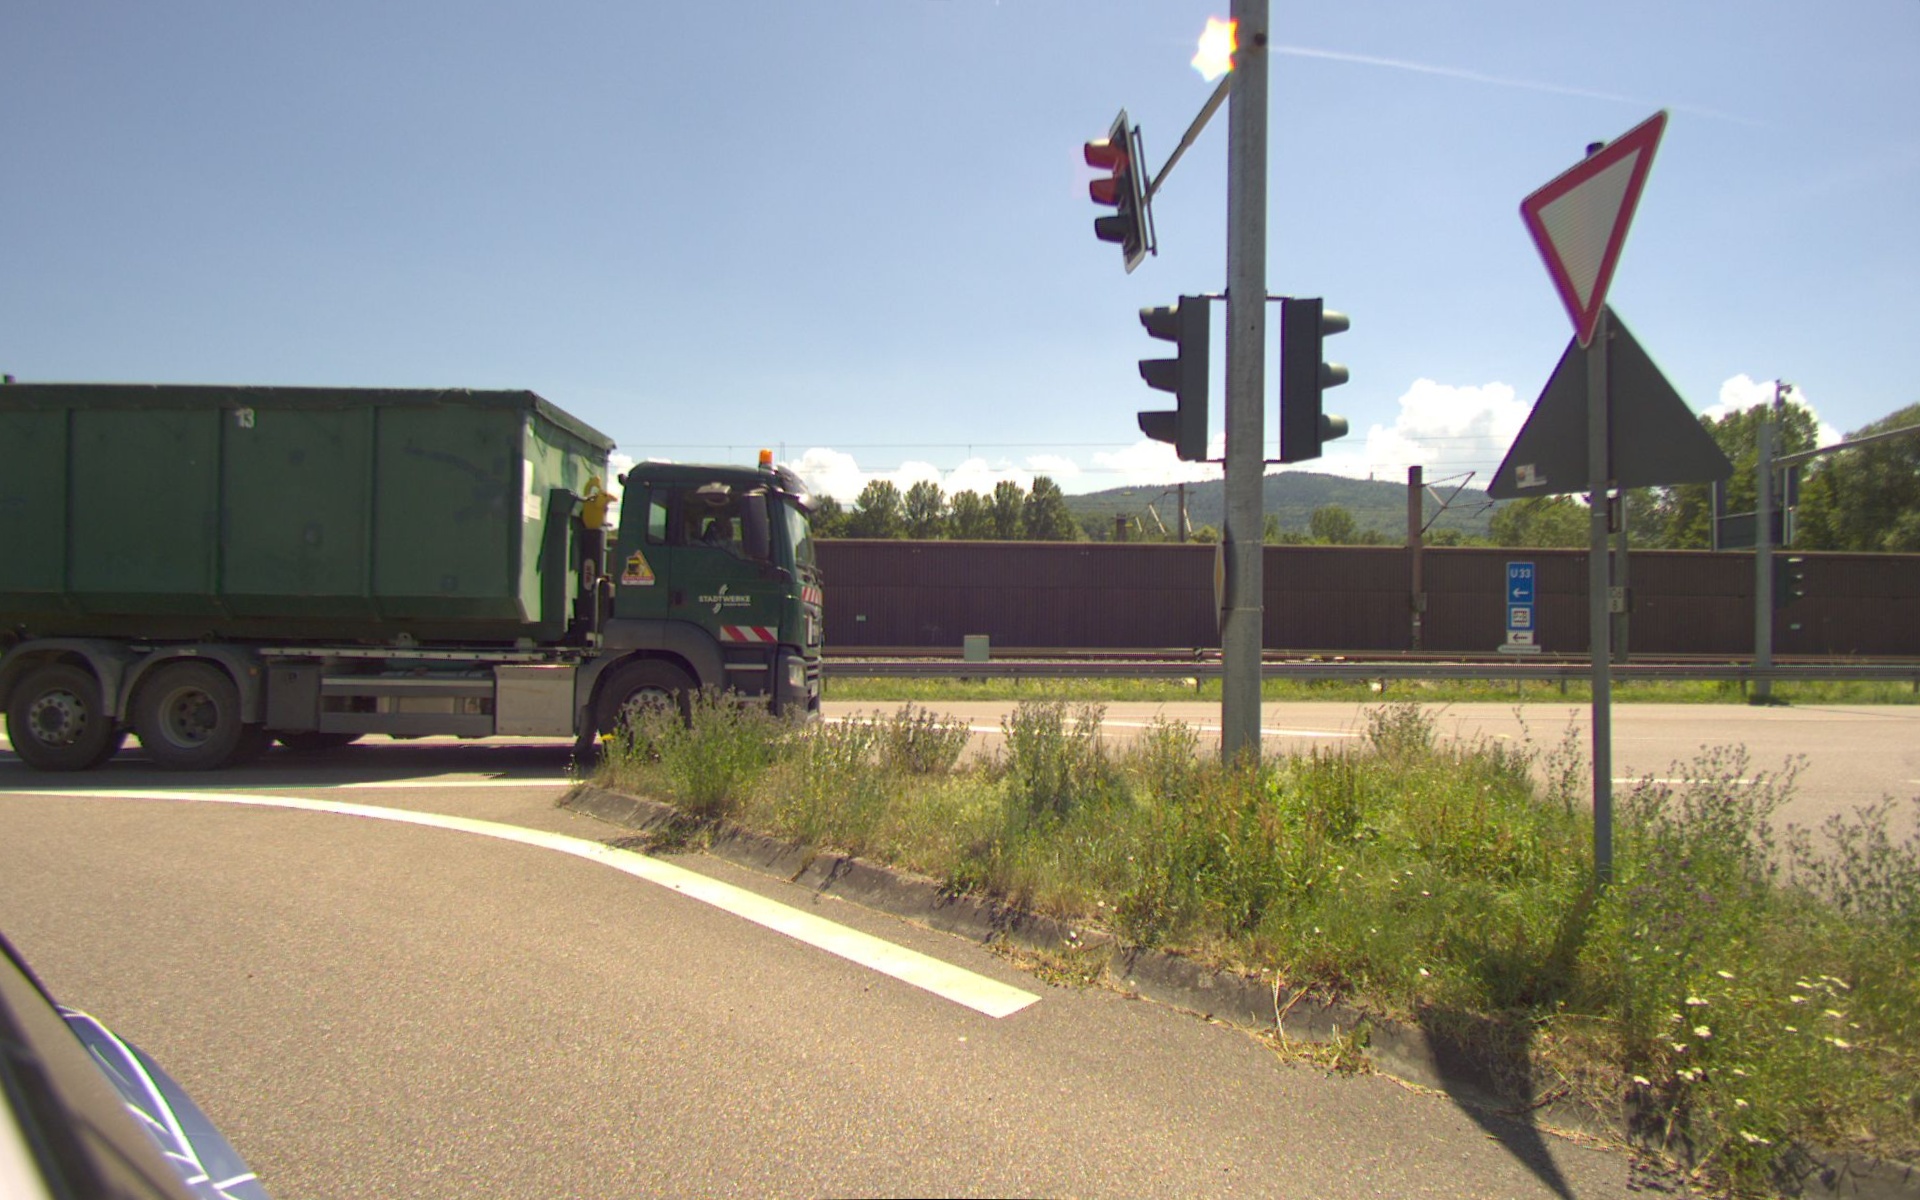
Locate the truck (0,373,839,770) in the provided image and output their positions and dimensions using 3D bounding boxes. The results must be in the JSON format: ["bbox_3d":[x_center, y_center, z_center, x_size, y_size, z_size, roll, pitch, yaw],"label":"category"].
[{"bbox_3d":[-6.164,-0.240,10.968,9.439,3.766,2.598,0,-2,0],"label":"truck"}]
